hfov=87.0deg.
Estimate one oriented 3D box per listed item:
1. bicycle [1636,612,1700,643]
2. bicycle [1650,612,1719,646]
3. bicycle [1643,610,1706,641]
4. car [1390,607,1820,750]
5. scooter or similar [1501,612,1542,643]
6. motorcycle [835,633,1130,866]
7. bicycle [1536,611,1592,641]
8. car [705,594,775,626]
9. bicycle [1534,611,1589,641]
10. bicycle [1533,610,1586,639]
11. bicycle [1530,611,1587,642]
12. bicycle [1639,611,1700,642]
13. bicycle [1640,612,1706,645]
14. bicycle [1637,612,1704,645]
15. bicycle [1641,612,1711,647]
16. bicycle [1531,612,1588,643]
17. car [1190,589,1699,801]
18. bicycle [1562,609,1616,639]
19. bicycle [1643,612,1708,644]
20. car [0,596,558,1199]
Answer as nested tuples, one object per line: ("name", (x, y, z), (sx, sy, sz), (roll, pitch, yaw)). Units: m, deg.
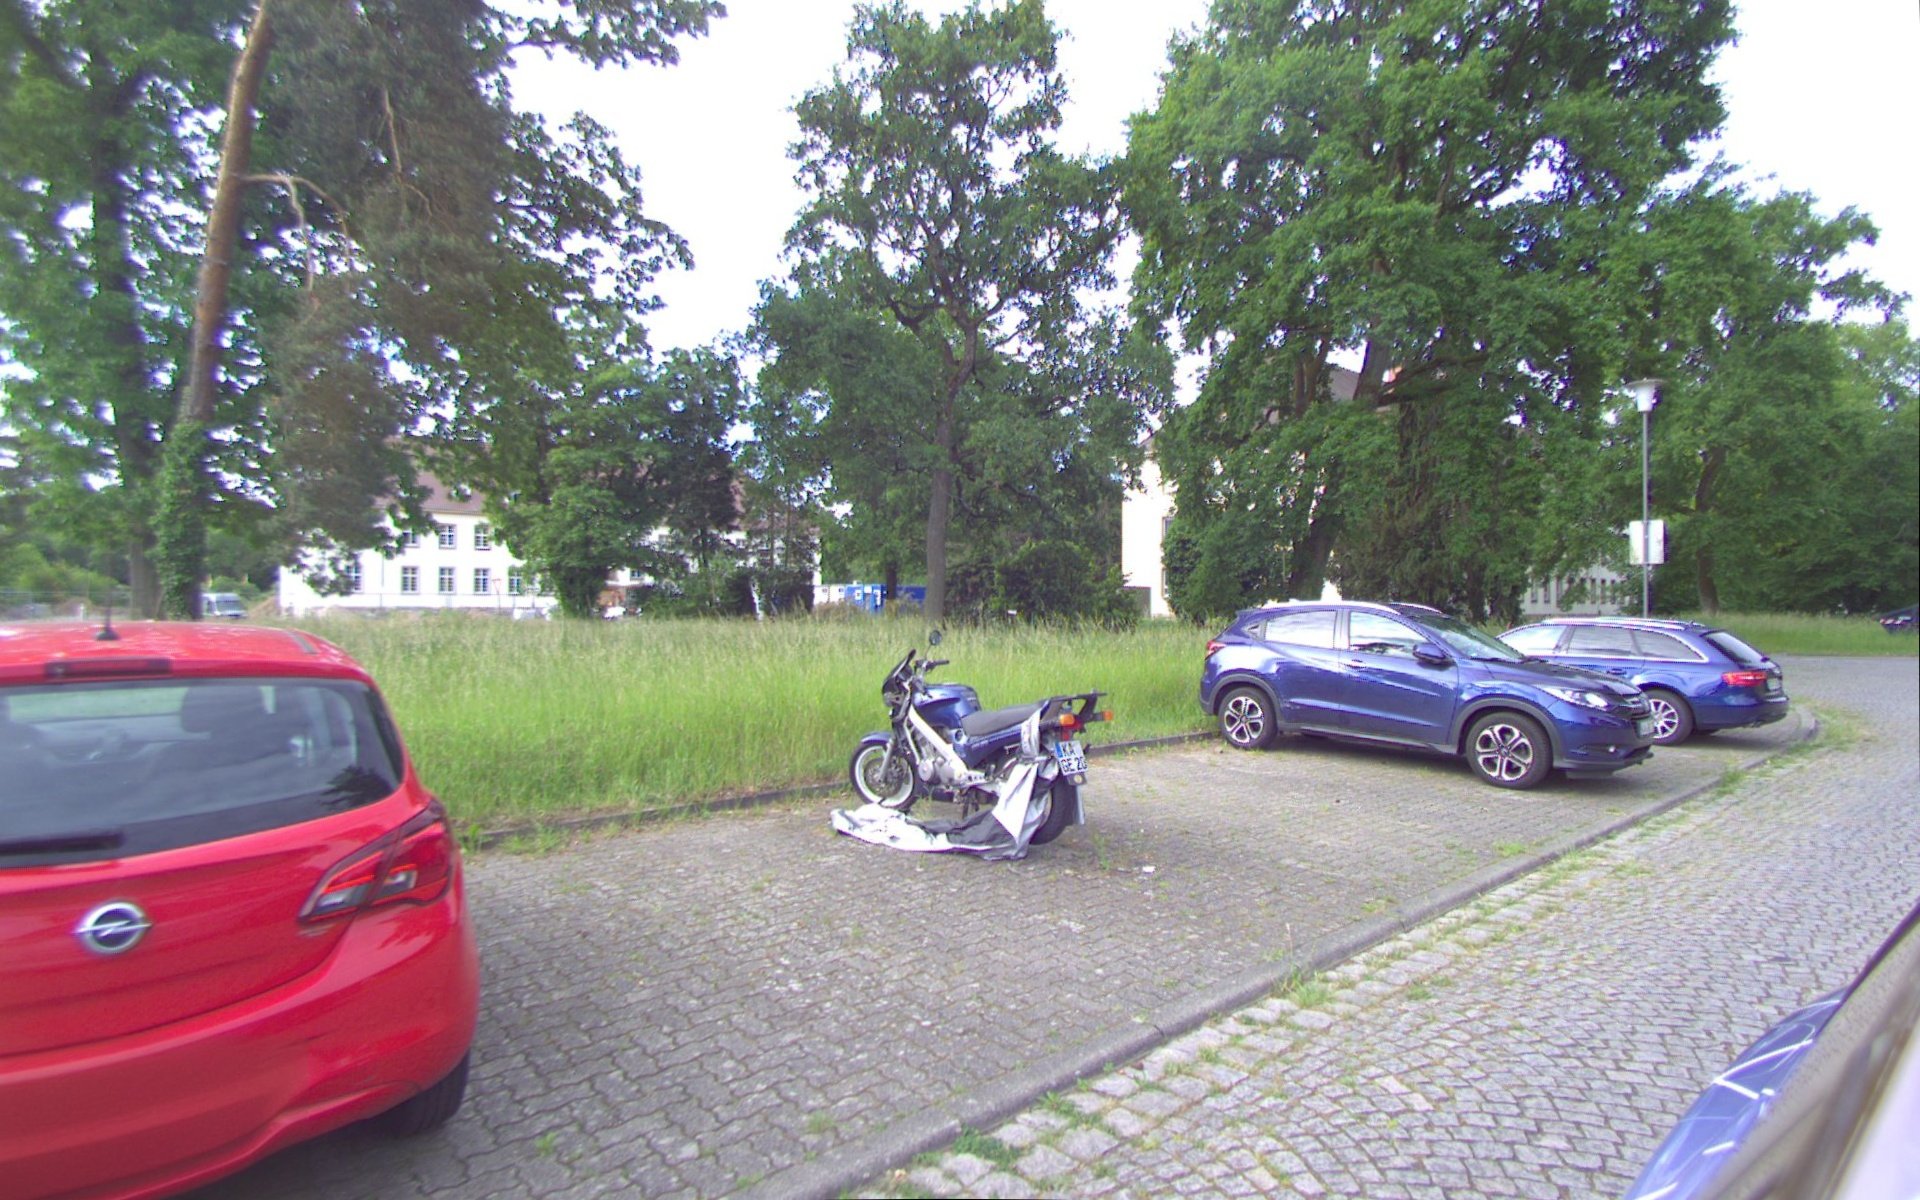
("bicycle", (27.470, 1.069, 39.300), (1.921, 1.185, 0.483), (-2, -2, 27))
("bicycle", (25.959, 1.044, 36.287), (1.916, 1.185, 0.484), (-2, -2, 22))
("bicycle", (27.963, 1.005, 39.652), (1.921, 1.185, 0.483), (-2, -2, 27))
("car", (8.173, 0.856, 13.191), (1.892, 1.457, 4.367), (1, 0, -39))
("scooter or similar", (21.849, 1.076, 39.400), (0.406, 1.185, 1.306), (0, -2, -42))
("motorcycle", (0.056, 0.876, 6.731), (0.558, 1.217, 2.232), (1, 0, -43))
("bicycle", (24.320, 1.029, 40.787), (1.836, 1.185, 0.485), (-1, -1, 21))
("car", (-16.559, 0.714, 76.411), (4.854, 2.333, 1.920), (1, -1, -42))
("bicycle", (23.853, 1.027, 40.174), (1.842, 1.185, 0.483), (-1, -1, 28))
("bicycle", (24.955, 1.003, 42.146), (1.836, 1.185, 0.485), (-1, -1, 21))
("bicycle", (23.415, 1.025, 39.611), (1.839, 1.185, 0.484), (-1, -1, 24))
("bicycle", (28.583, 1.075, 40.796), (1.925, 1.185, 0.531), (-2, -2, 33))
("bicycle", (26.629, 1.059, 37.816), (1.918, 1.185, 0.484), (-2, -2, 24))
("bicycle", (26.220, 1.058, 37.366), (1.918, 1.185, 0.484), (-2, -2, 24))
("bicycle", (25.390, 1.049, 35.928), (1.916, 1.185, 0.484), (-2, -2, 22))
("bicycle", (23.131, 1.047, 39.086), (1.839, 1.185, 0.484), (-1, -1, 24))
("car", (4.632, 0.733, 10.168), (1.854, 1.643, 4.250), (1, 0, -42))
("bicycle", (26.290, 0.981, 42.297), (1.851, 1.185, 0.481), (2, 0, 40))
("bicycle", (27.136, 1.060, 38.401), (1.921, 1.185, 0.483), (-2, -2, 27))
("car", (-3.048, 0.765, 3.572), (1.754, 1.515, 3.928), (1, 0, -42))
